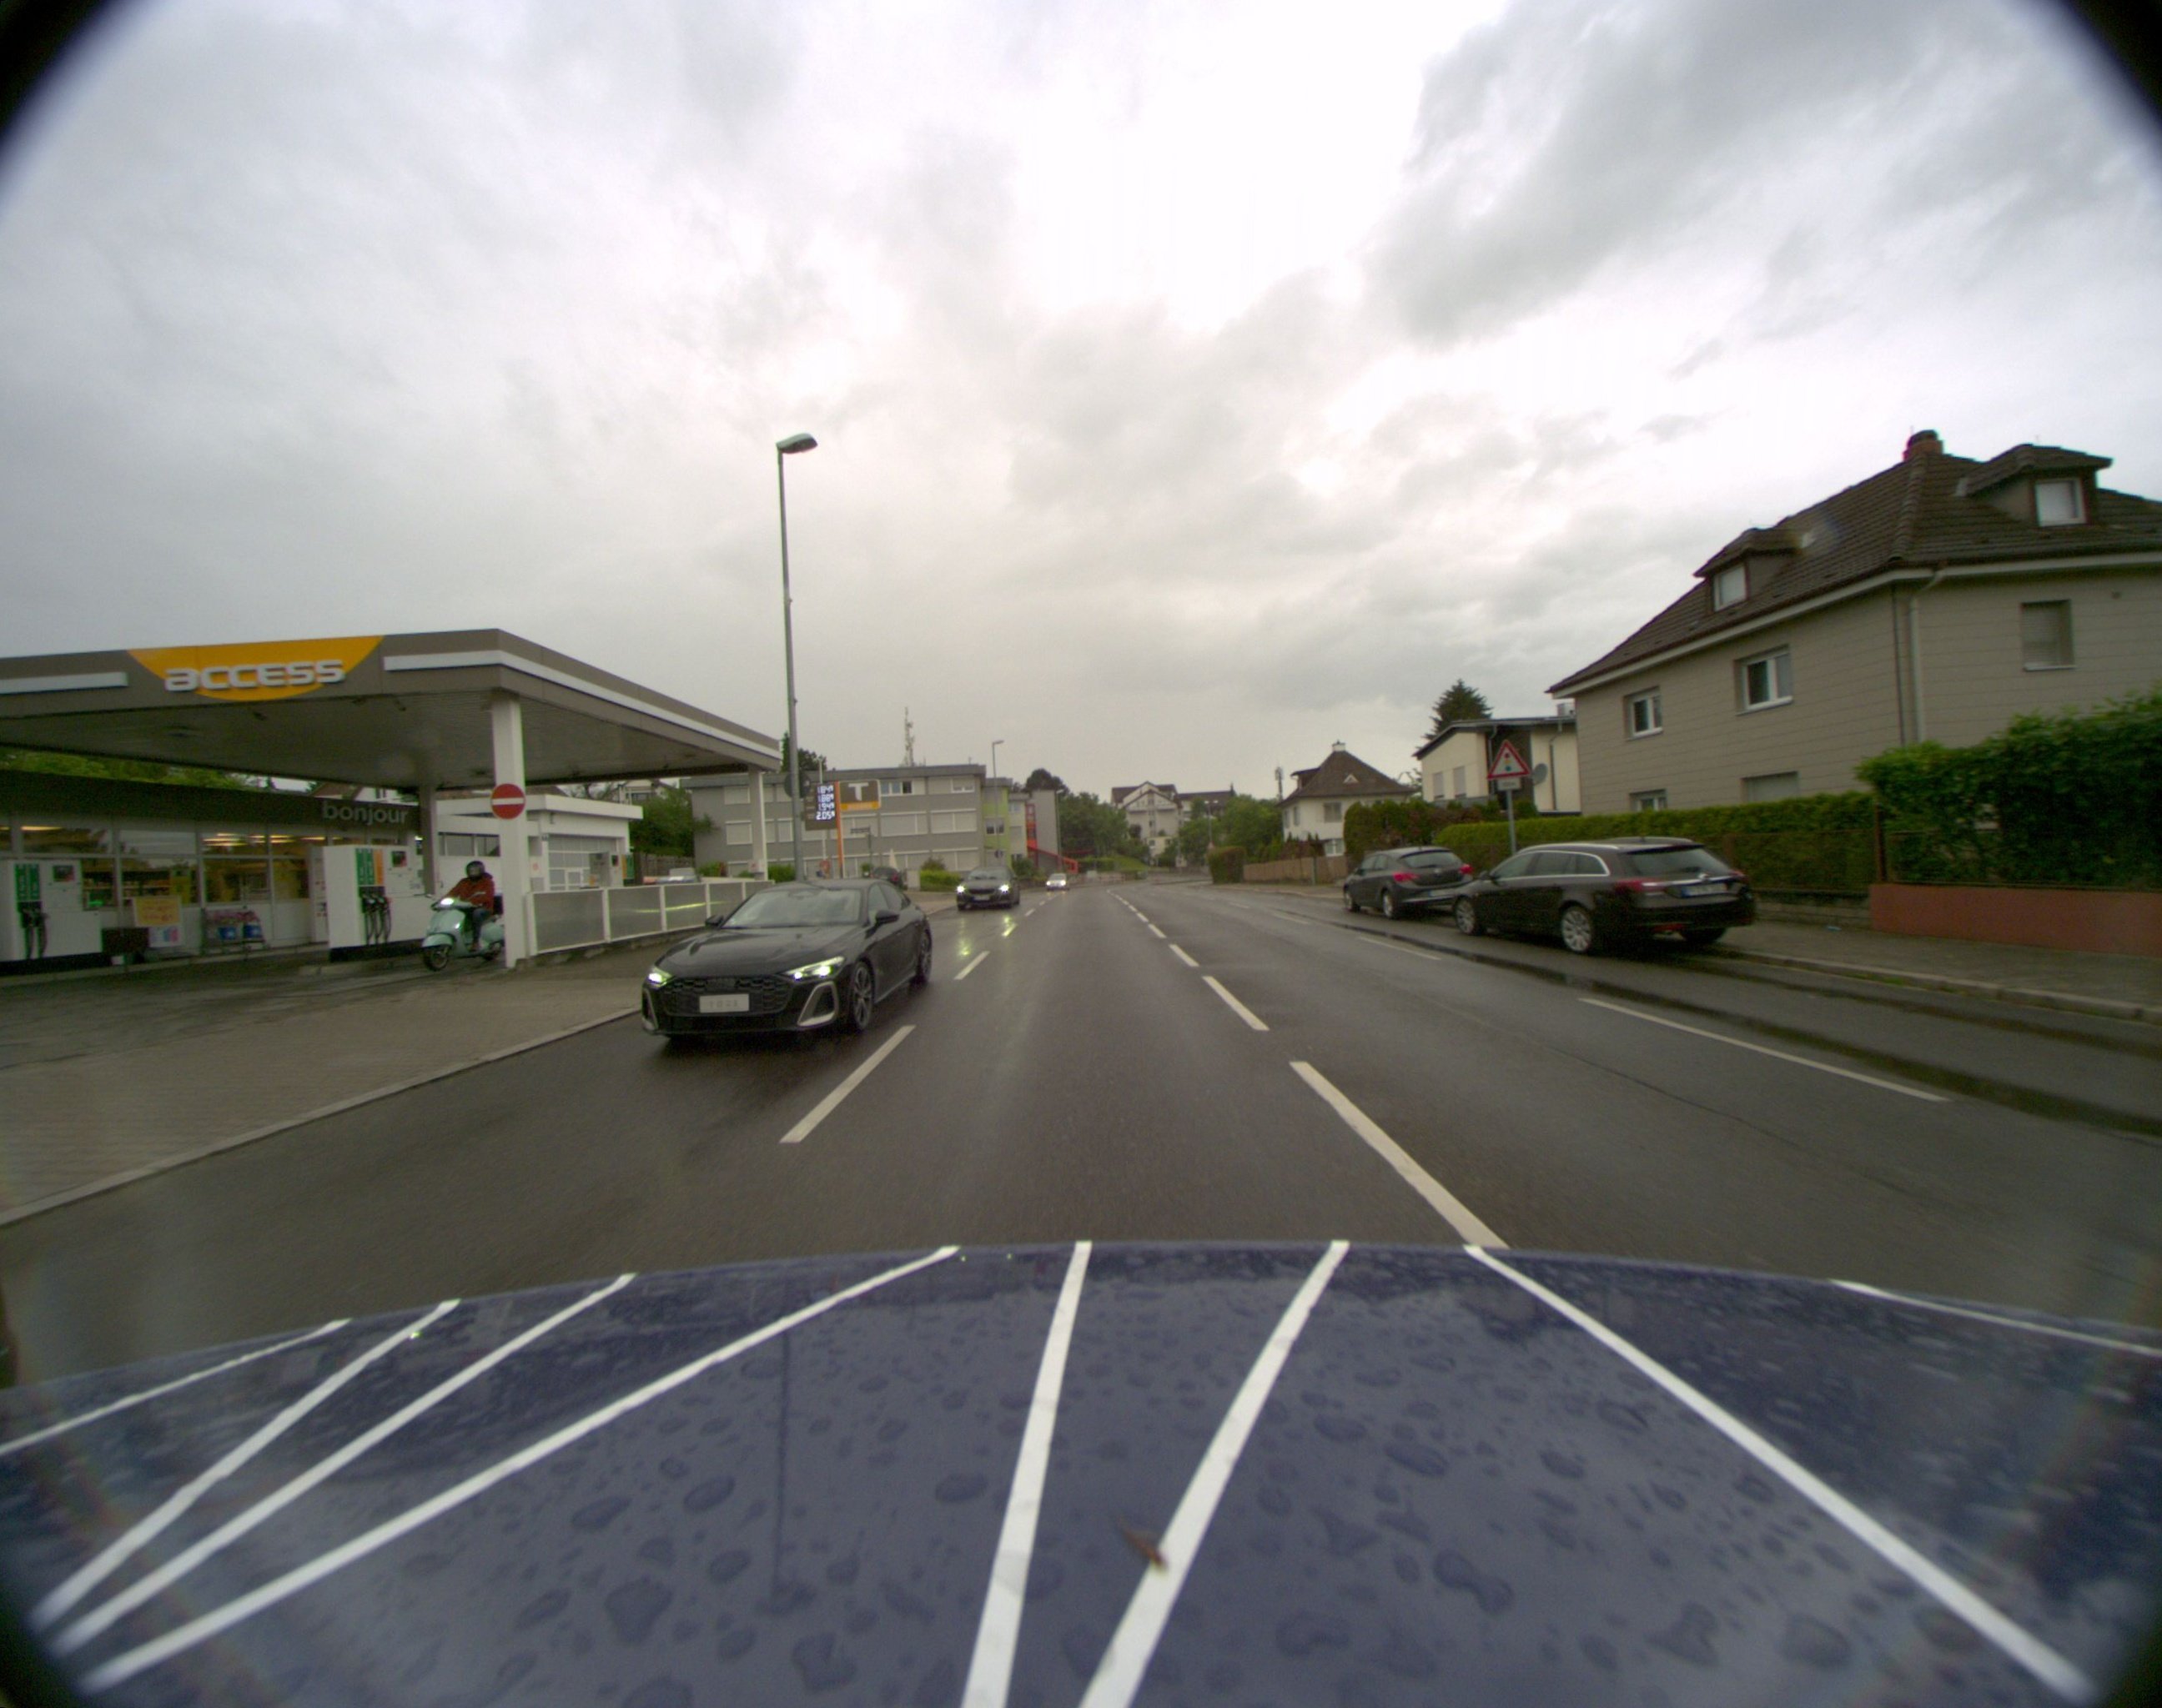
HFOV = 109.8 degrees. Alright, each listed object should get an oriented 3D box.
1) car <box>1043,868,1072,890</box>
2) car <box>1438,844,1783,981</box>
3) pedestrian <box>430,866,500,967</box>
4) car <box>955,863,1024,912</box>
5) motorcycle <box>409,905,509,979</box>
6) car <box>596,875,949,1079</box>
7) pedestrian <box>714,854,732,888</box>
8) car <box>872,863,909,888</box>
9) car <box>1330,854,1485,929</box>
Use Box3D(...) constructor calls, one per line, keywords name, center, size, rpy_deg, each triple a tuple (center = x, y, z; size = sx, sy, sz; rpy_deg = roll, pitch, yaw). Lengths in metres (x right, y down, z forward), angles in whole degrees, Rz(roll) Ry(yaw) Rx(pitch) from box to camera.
Box3D(name="car", center=(-2.043, 2.182, 67.335), size=(1.998, 1.647, 4.001), rpy_deg=(-3, 0, 5))
Box3D(name="car", center=(7.217, 0.675, 11.089), size=(1.755, 1.508, 4.527), rpy_deg=(-3, 0, -1))
Box3D(name="pedestrian", center=(-10.434, 1.038, 12.889), size=(0.611, 1.646, 0.585), rpy_deg=(-3, 1, 1))
Box3D(name="car", center=(-3.218, 1.152, 27.497), size=(1.872, 1.510, 4.000), rpy_deg=(-3, 0, 1))
Box3D(name="motorcycle", center=(-10.378, 1.443, 12.734), size=(0.463, 1.049, 1.390), rpy_deg=(-3, 0, 1))
Box3D(name="car", center=(-2.902, 1.063, 8.503), size=(1.871, 1.416, 4.739), rpy_deg=(-3, 0, 1))
Box3D(name="pedestrian", center=(-21.661, 1.035, 45.967), size=(0.718, 2.002, 0.614), rpy_deg=(-3, 1, -7))
Box3D(name="car", center=(-12.374, 1.372, 49.548), size=(1.815, 1.518, 3.997), rpy_deg=(1, 0, -7))
Box3D(name="car", center=(7.256, 0.757, 17.371), size=(1.754, 1.431, 4.129), rpy_deg=(-3, 0, 1))
